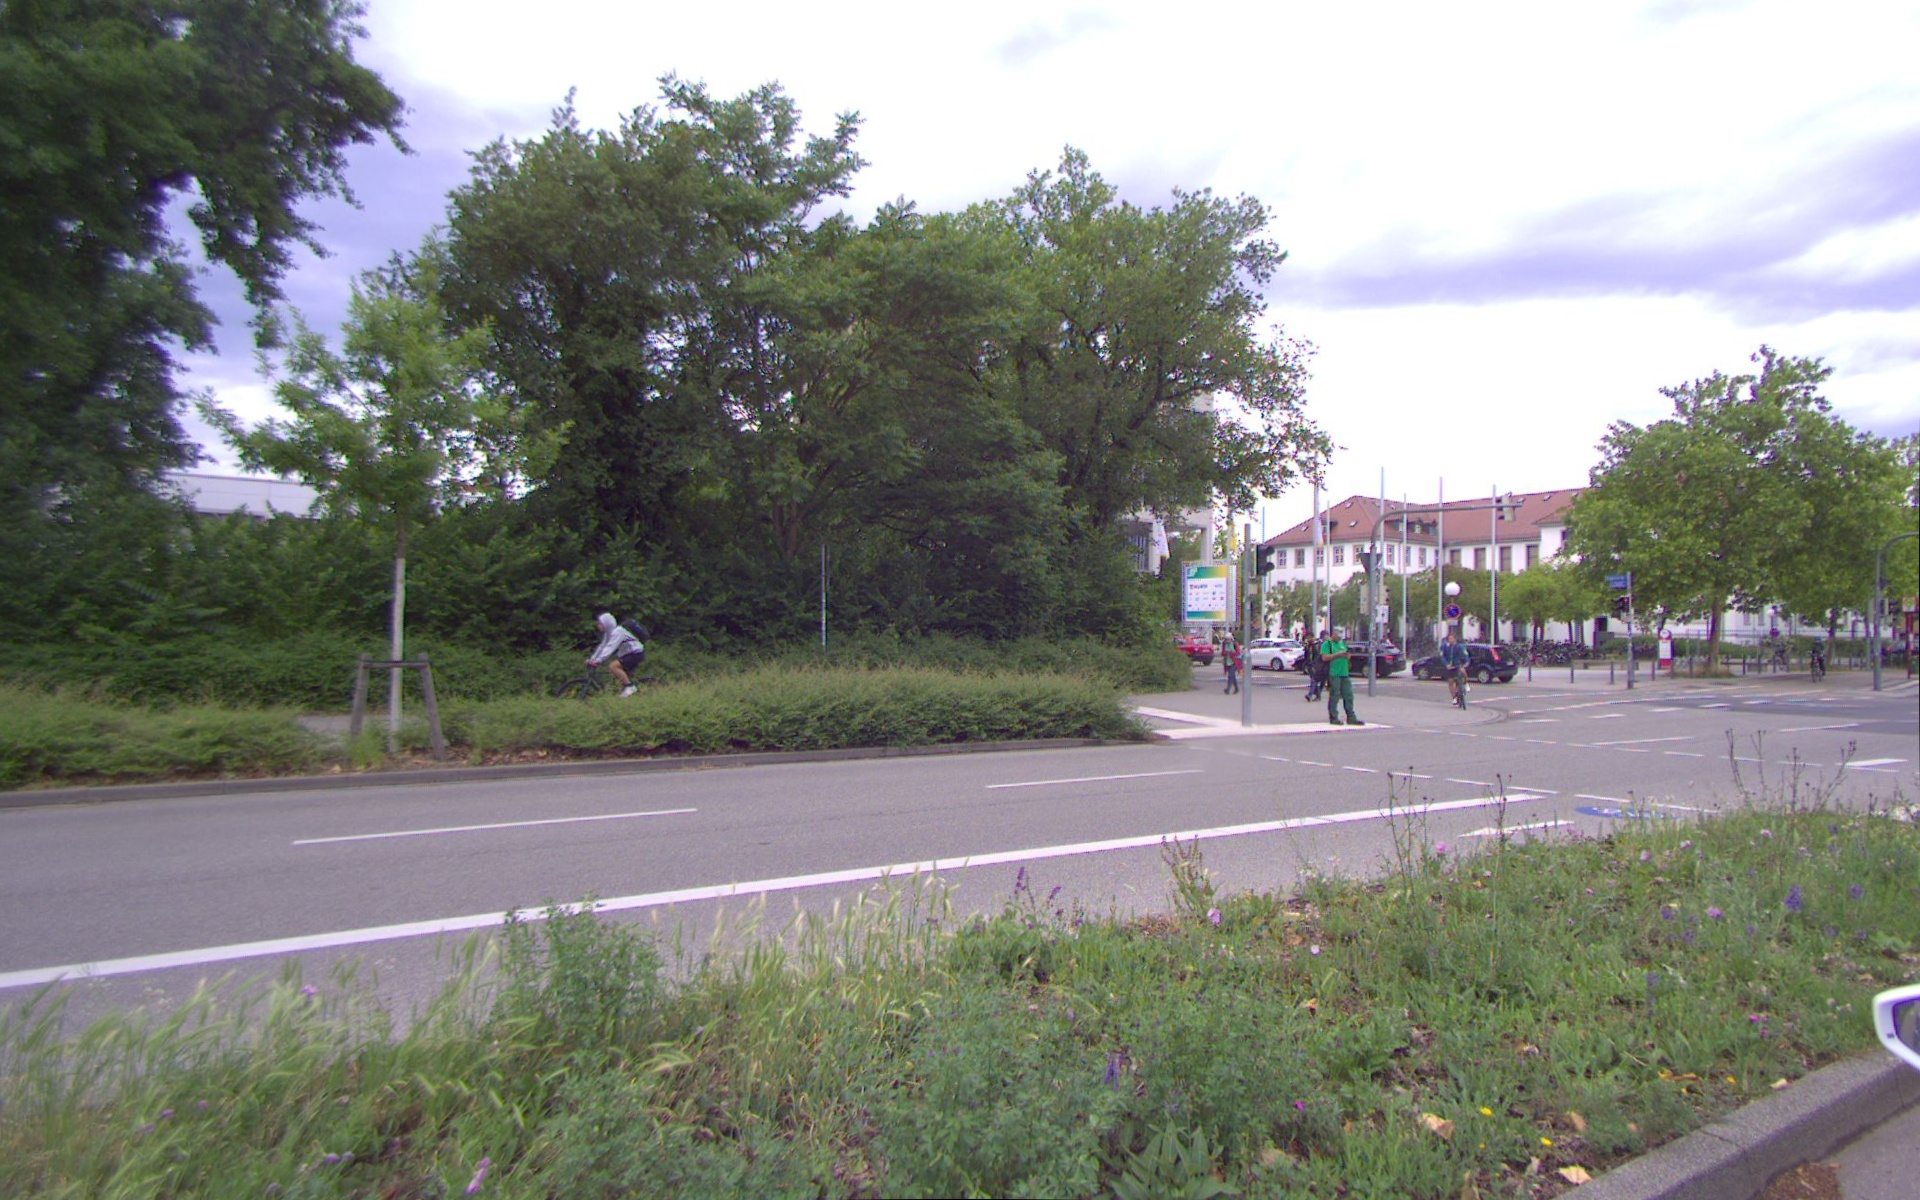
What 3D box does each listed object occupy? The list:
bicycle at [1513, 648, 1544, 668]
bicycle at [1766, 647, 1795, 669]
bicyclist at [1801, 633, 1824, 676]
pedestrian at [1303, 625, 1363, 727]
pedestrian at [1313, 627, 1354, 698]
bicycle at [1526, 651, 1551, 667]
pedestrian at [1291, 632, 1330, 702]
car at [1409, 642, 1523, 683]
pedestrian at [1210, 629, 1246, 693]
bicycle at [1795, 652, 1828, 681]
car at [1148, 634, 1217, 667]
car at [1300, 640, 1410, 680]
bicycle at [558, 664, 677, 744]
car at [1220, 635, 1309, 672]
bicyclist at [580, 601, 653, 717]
[{"bbox_3d":[31.936,3.254,56.441,1.385,1.066,0.586,-3,-3,41],"label":"bicycle"},{"bbox_3d":[41.022,2.886,50.209,2.025,1.074,0.603,1,-3,-37],"label":"bicycle"},{"bbox_3d":[32.986,2.105,38.868,0.581,1.647,0.488,0,1,-30],"label":"bicyclist"},{"bbox_3d":[6.797,1.360,18.349,0.924,1.782,0.876,2,-1,16],"label":"pedestrian"},{"bbox_3d":[9.670,1.608,25.980,0.827,1.761,0.830,0,-5,30],"label":"pedestrian"},{"bbox_3d":[32.657,3.324,56.694,1.191,0.892,0.263,-2,-3,38],"label":"bicycle"},{"bbox_3d":[8.267,1.587,23.703,0.776,1.578,0.700,2,-4,16],"label":"pedestrian"},{"bbox_3d":[19.706,2.398,39.210,1.548,1.240,3.630,-7,4,-35],"label":"car"},{"bbox_3d":[6.697,1.527,25.058,0.563,1.545,0.846,0,-6,36],"label":"pedestrian"},{"bbox_3d":[32.916,2.559,38.839,1.571,1.019,0.485,0,1,-31],"label":"bicycle"},{"bbox_3d":[11.421,2.574,51.689,1.547,1.499,3.322,1,0,-36],"label":"car"},{"bbox_3d":[16.690,2.500,42.561,4.006,1.472,1.613,-2,3,43],"label":"car"},{"bbox_3d":[-5.067,1.508,14.856,1.597,1.076,0.664,1,0,-25],"label":"bicycle"},{"bbox_3d":[14.385,2.503,47.589,1.667,1.560,3.857,-1,0,-32],"label":"car"},{"bbox_3d":[-5.082,0.854,14.841,0.948,1.657,0.664,1,0,-25],"label":"bicyclist"}]
